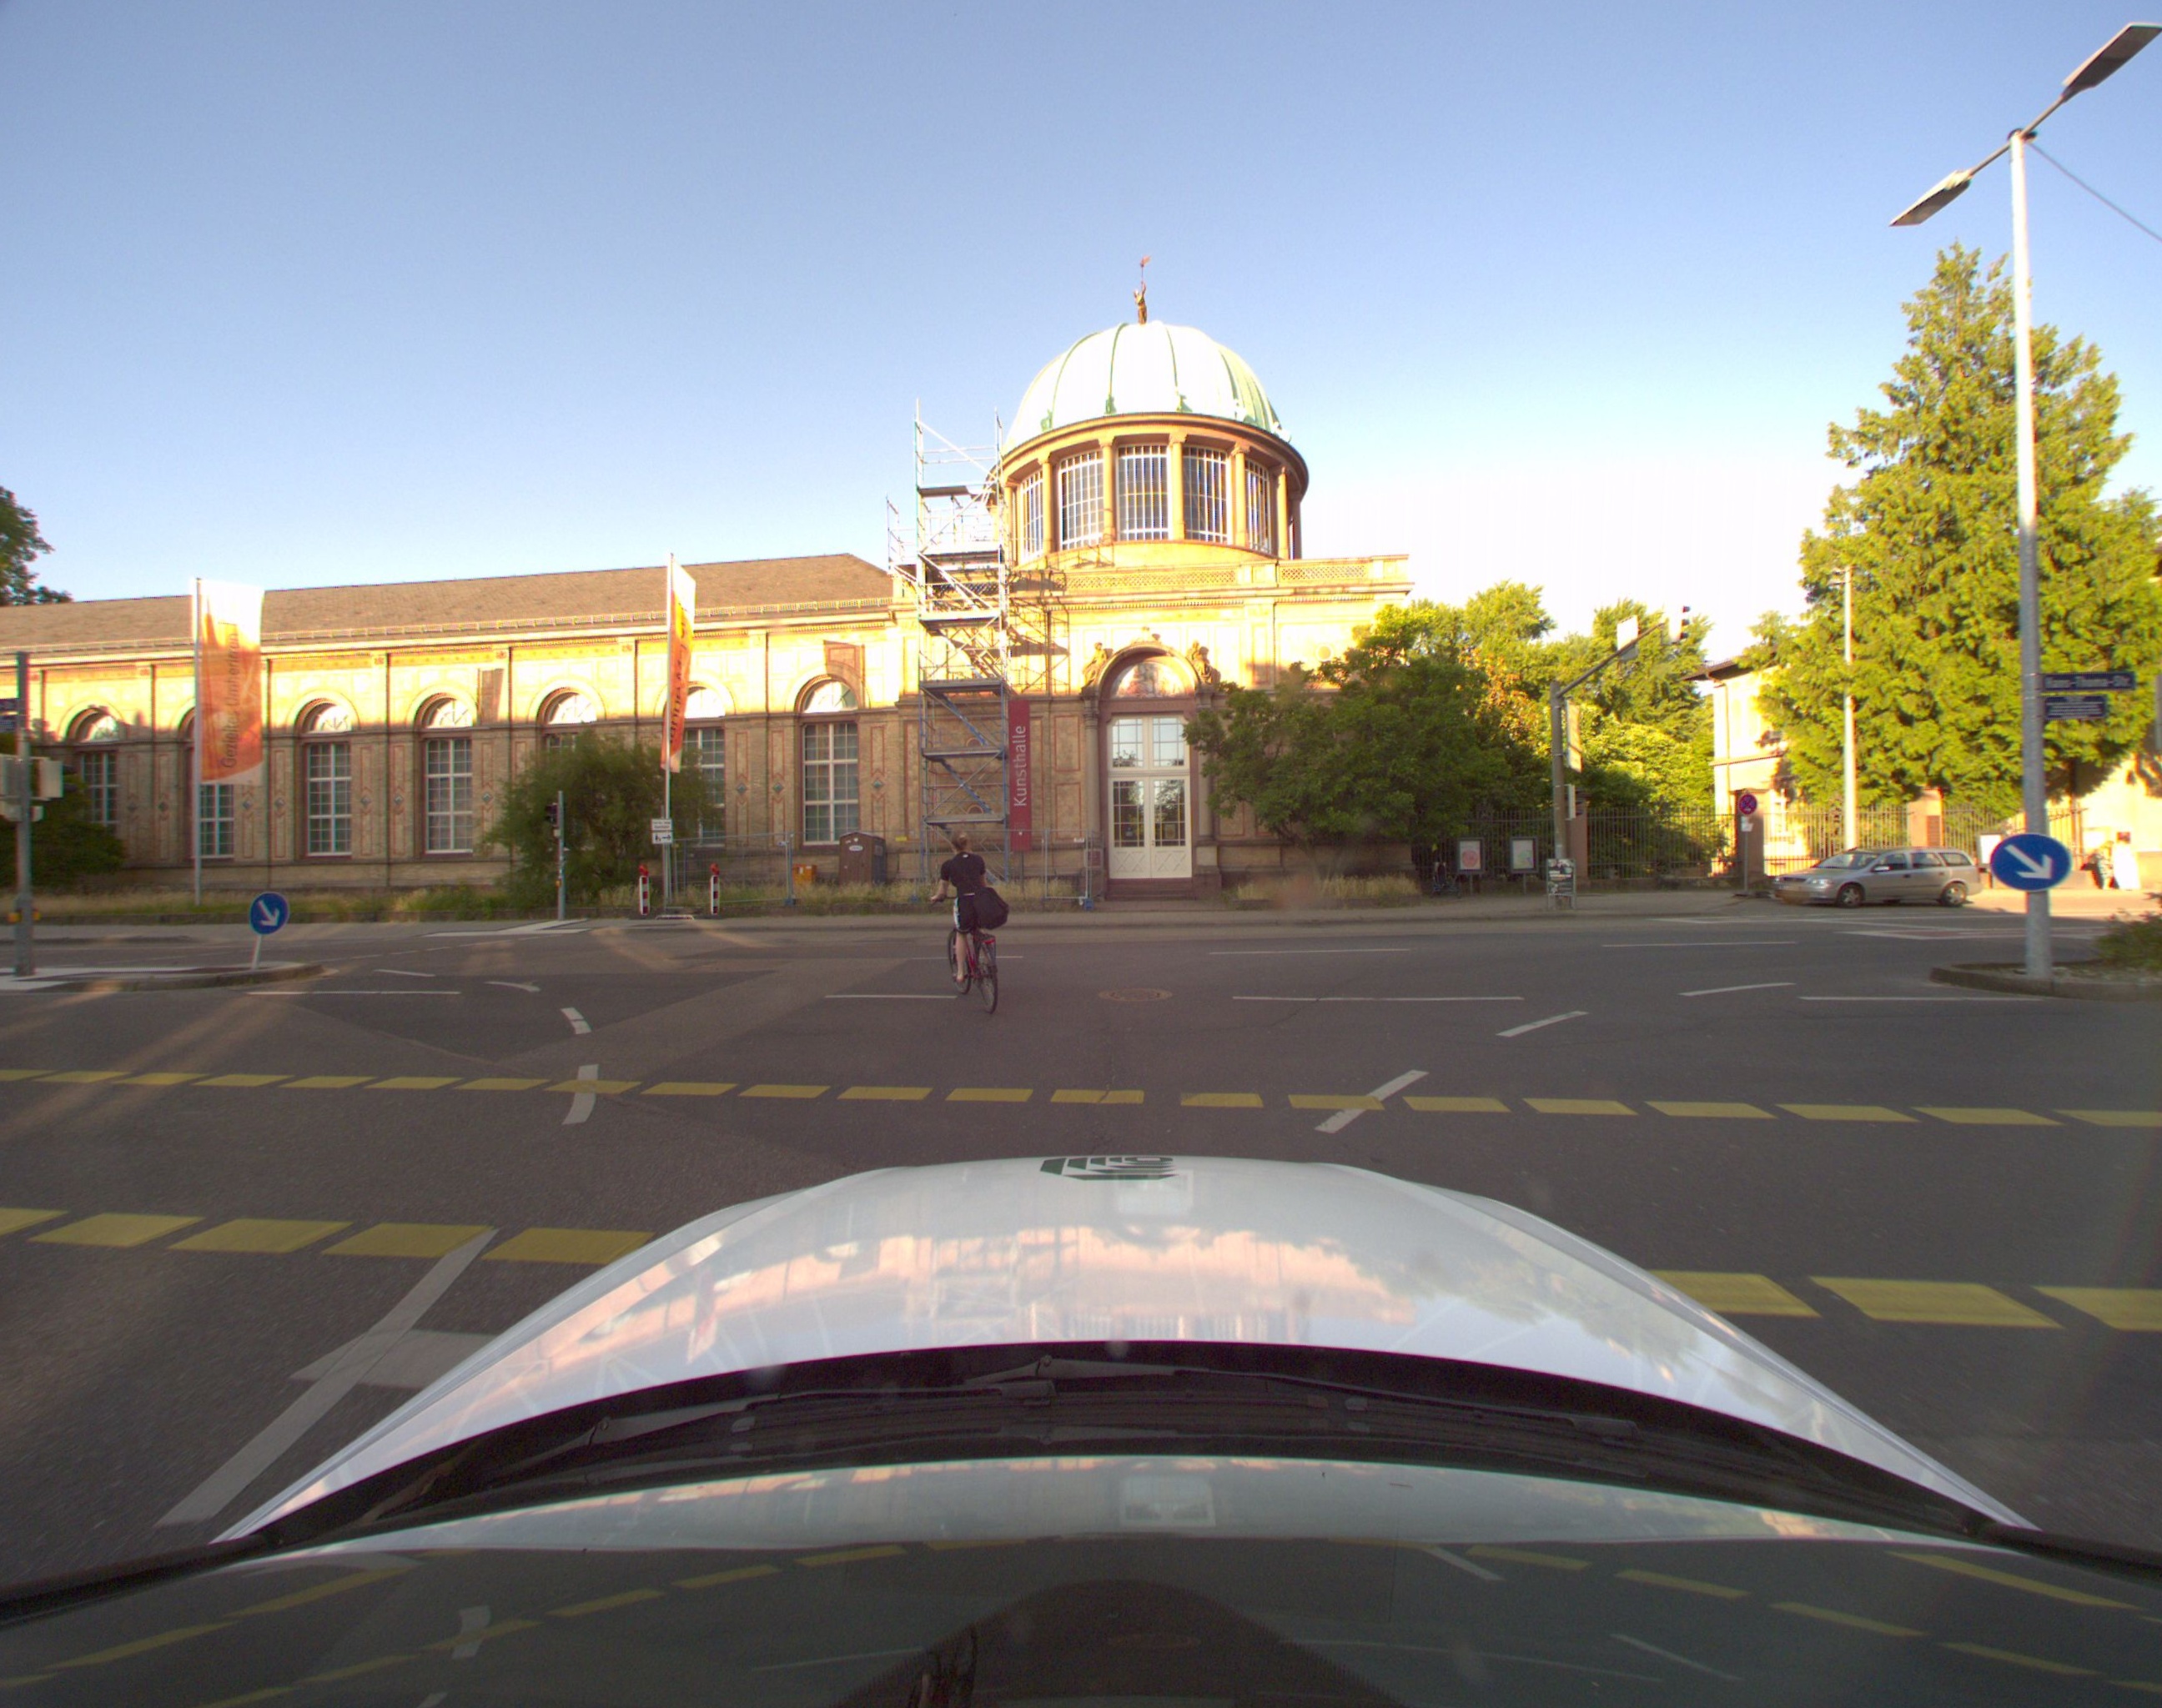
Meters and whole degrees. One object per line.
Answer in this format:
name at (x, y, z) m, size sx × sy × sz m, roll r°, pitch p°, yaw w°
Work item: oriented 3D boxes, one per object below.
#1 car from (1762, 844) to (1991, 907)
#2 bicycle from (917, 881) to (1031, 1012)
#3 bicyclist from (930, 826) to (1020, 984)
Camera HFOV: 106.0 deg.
car at (20.058, 0.515, 20.663) m, size 4.172 × 1.445 × 1.714 m, roll -1°, pitch 0°, yaw -1°
bicycle at (-1.166, 0.873, 8.416) m, size 0.714 × 1.156 × 2.054 m, roll 0°, pitch -2°, yaw -21°
bicyclist at (-1.092, 0.495, 8.245) m, size 0.719 × 1.503 × 0.844 m, roll 0°, pitch -2°, yaw -21°
